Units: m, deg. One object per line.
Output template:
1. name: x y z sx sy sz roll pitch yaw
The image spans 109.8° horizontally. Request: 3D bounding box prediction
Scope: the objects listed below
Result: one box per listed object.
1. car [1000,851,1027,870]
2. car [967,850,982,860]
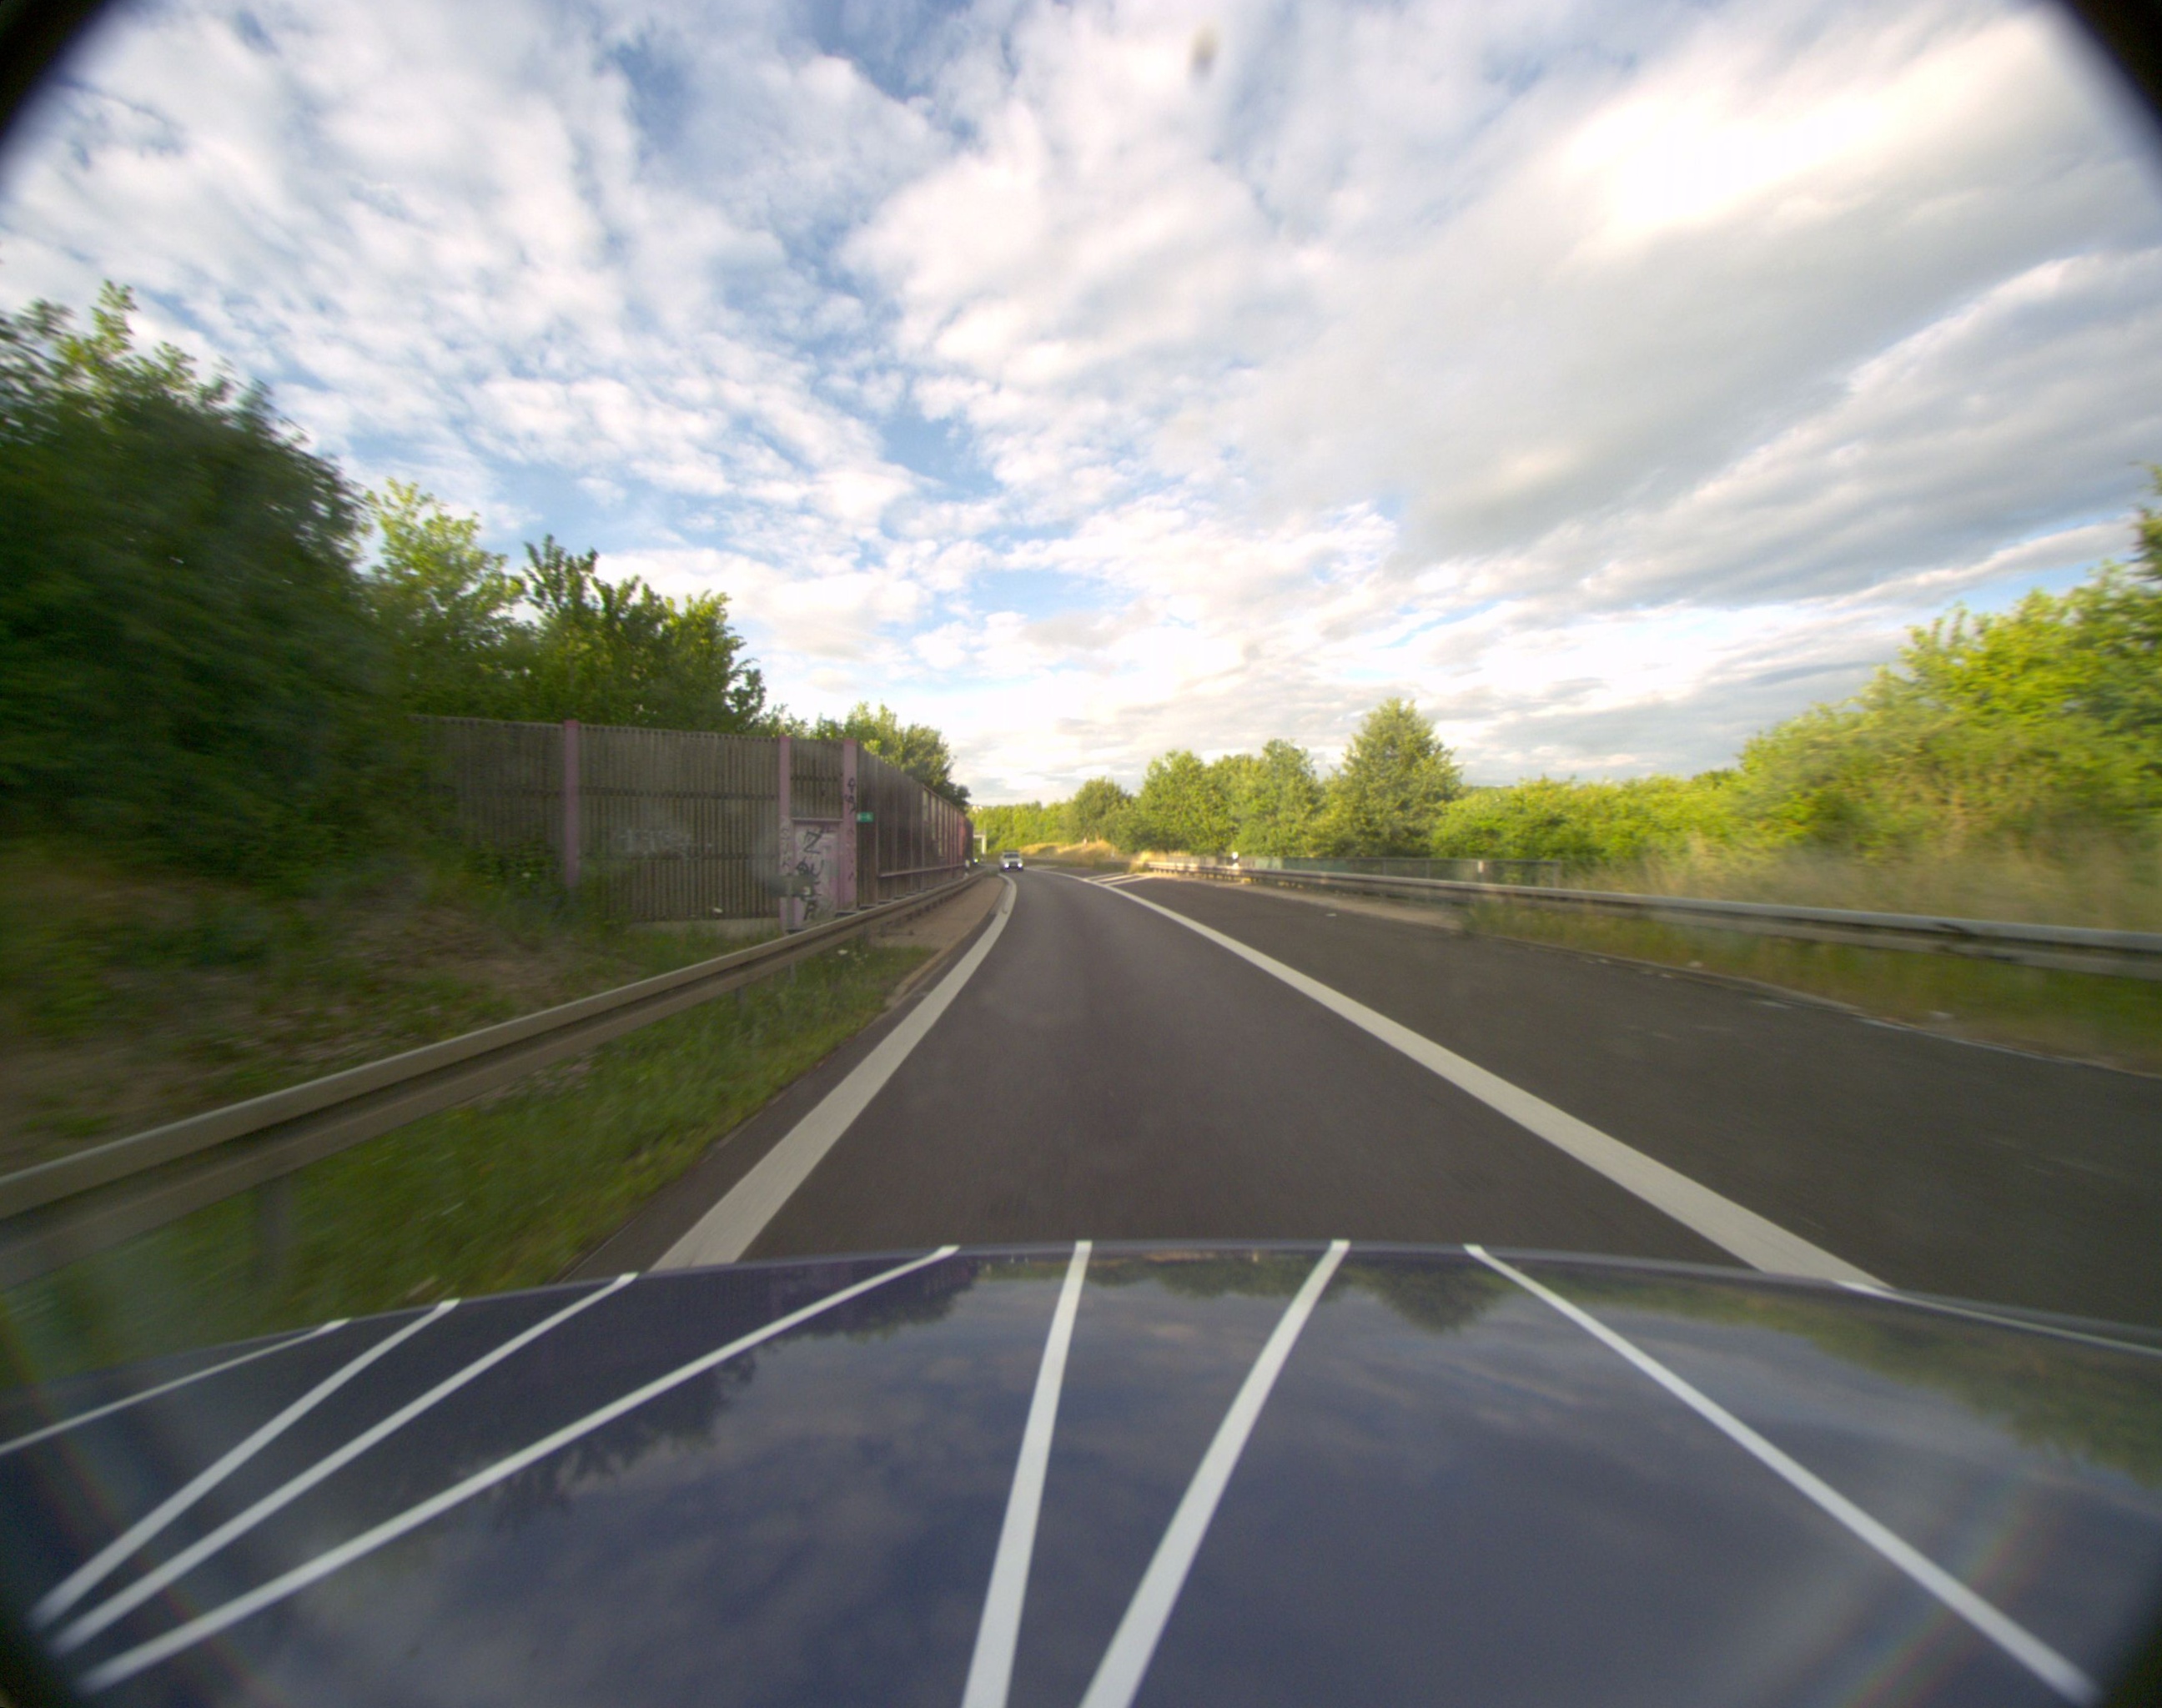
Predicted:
1. car: -6.213 0.558 69.769 1.907 1.655 3.995 -1 0 -12
2. car: -15.267 0.137 108.927 1.622 1.451 3.657 -2 1 -16
